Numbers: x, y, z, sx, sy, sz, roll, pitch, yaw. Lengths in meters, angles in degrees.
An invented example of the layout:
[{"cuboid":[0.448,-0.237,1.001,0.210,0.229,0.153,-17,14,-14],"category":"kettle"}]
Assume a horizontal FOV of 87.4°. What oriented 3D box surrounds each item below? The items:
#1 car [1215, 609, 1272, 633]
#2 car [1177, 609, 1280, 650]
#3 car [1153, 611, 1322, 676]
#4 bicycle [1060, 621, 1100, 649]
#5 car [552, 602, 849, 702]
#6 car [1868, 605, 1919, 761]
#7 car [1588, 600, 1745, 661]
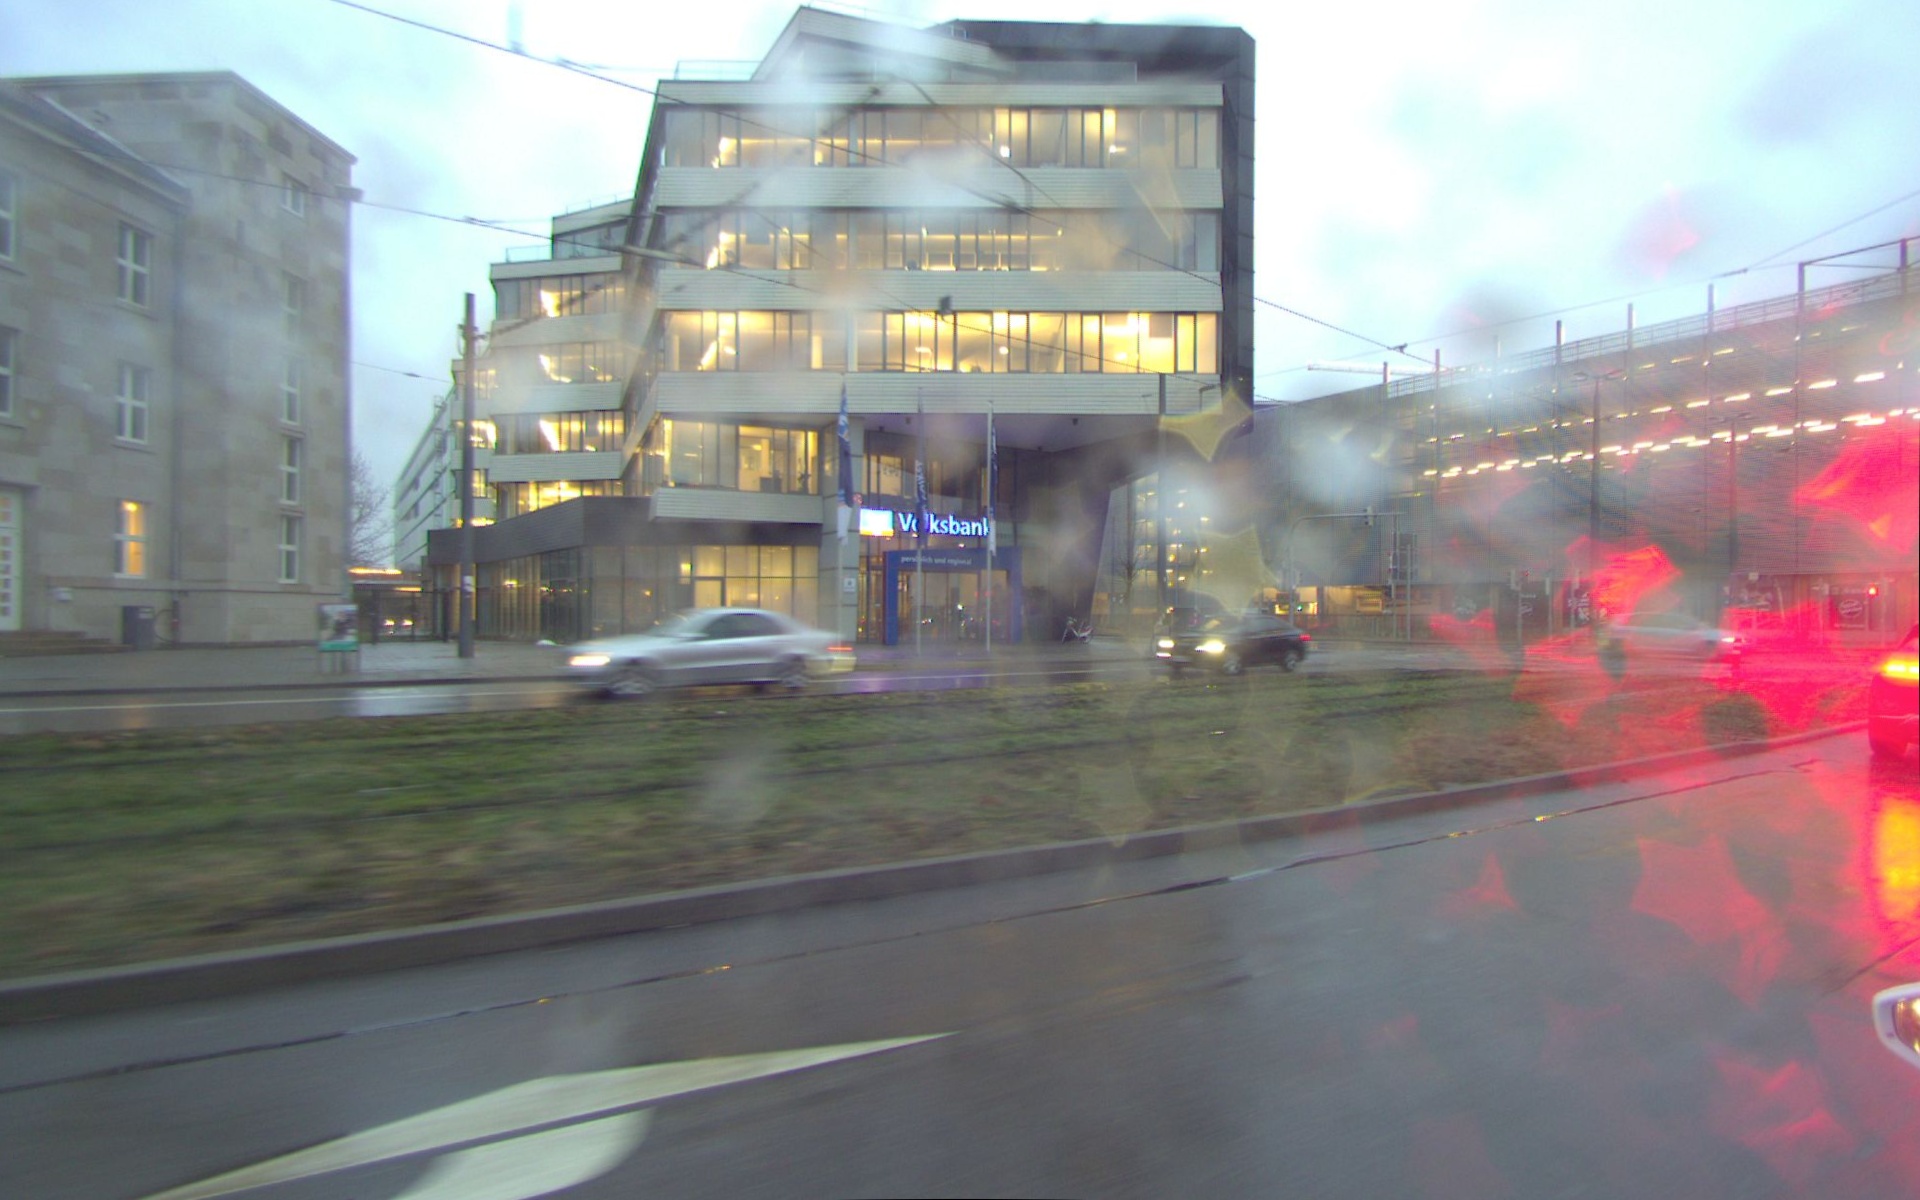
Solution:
[{"cuboid":[26.287,1.915,93.341,1.873,1.988,5.041,0,2,-36],"category":"car"},{"cuboid":[12.934,1.426,48.575,1.817,1.875,4.629,2,-2,-40],"category":"car"},{"cuboid":[7.012,1.032,25.195,4.479,1.419,1.645,0,2,-36],"category":"car"},{"cuboid":[4.983,1.447,41.684,1.589,1.105,0.553,1,-1,-24],"category":"bicycle"},{"cuboid":[-4.372,0.803,17.242,4.607,1.454,1.809,0,2,-34],"category":"car"},{"cuboid":[11.671,0.878,11.032,3.961,1.595,1.741,1,-1,-36],"category":"car"},{"cuboid":[23.625,1.015,33.680,1.985,1.899,3.951,0,-2,-42],"category":"car"}]
